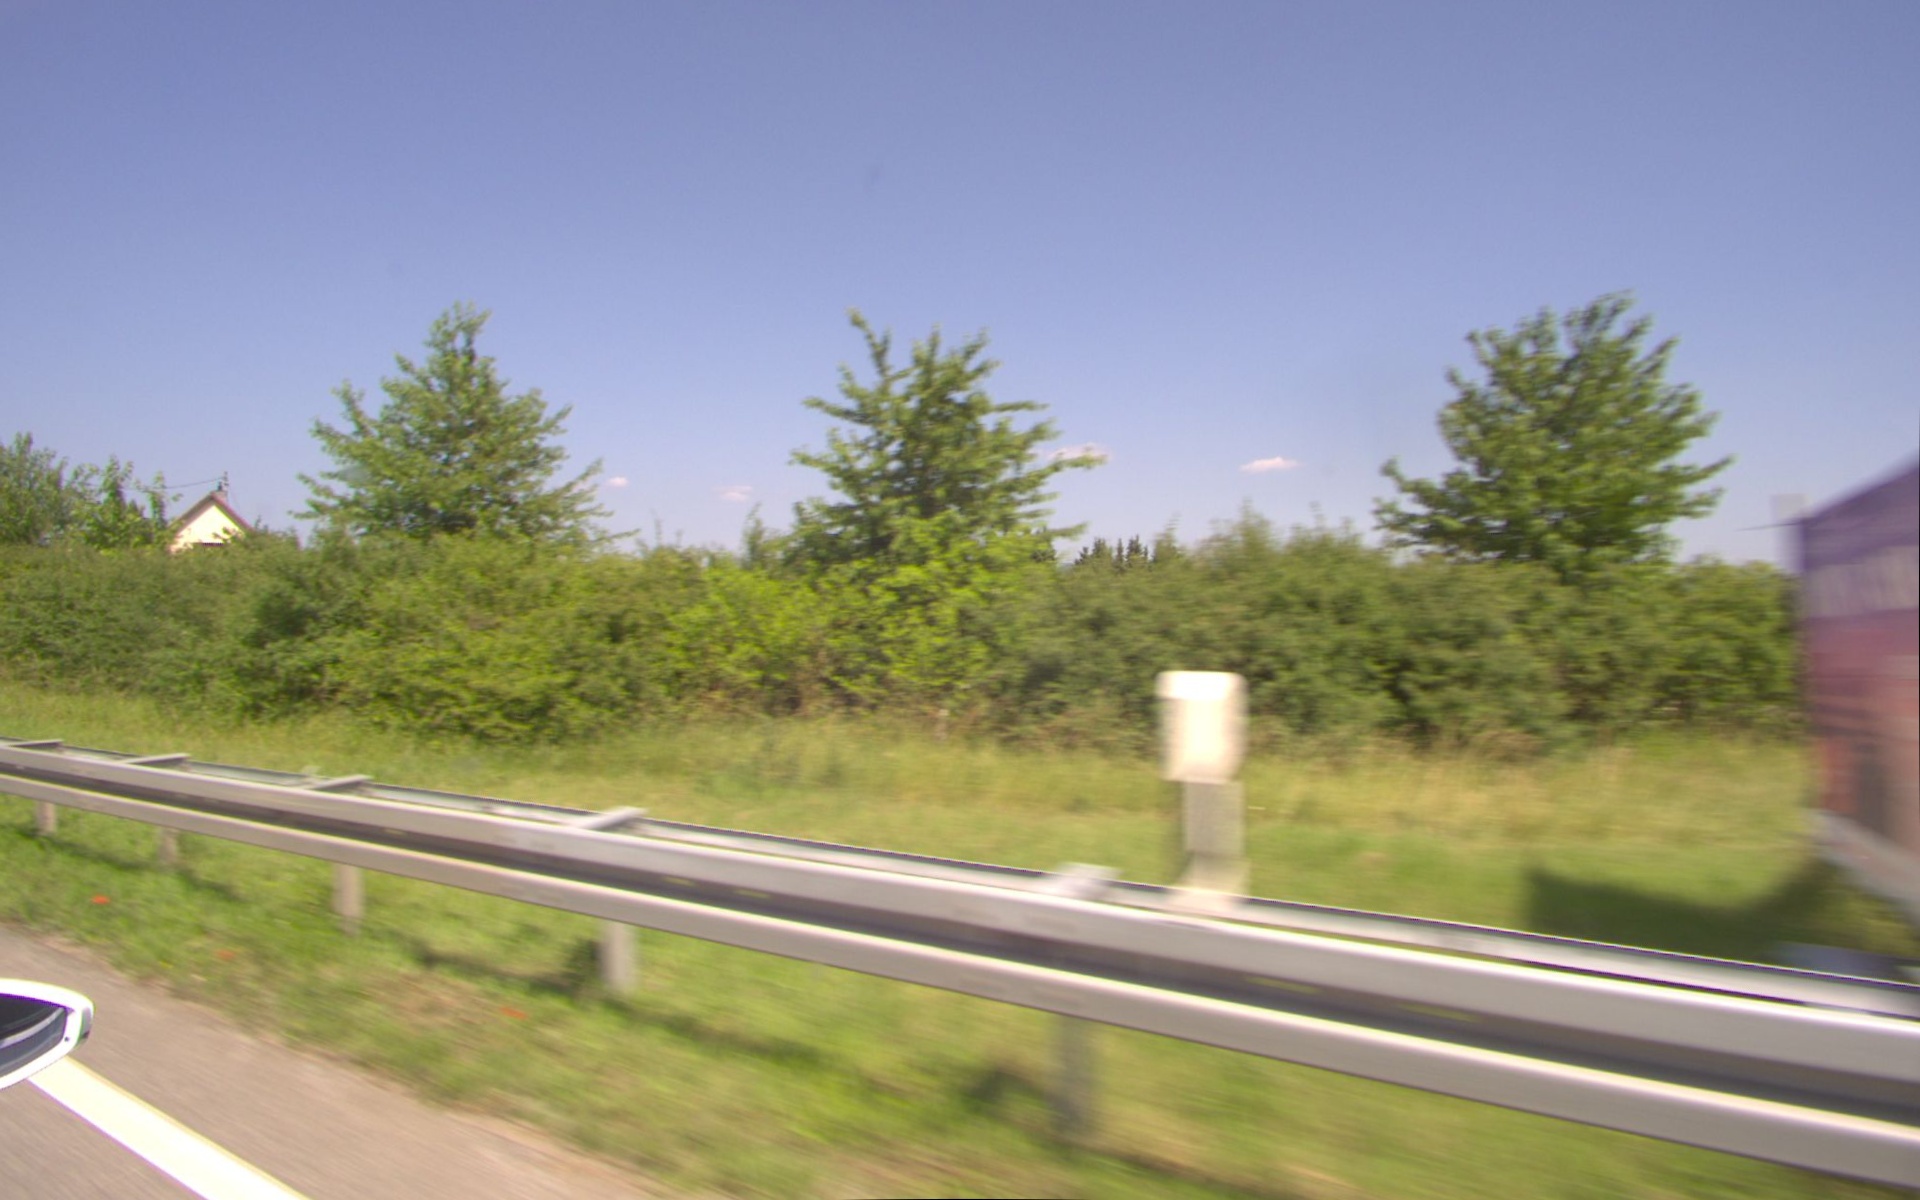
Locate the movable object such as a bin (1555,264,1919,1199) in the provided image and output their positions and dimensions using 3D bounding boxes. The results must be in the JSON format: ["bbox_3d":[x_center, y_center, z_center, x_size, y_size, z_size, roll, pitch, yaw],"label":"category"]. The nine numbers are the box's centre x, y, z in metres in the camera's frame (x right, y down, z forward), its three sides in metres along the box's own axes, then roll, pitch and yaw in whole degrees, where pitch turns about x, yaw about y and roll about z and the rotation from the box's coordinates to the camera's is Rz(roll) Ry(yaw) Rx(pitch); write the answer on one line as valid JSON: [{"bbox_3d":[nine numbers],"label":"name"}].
[{"bbox_3d":[3.267,0.459,4.164,1.258,2.360,4.091,0,-2,29],"label":"movable object such as a bin"}]
